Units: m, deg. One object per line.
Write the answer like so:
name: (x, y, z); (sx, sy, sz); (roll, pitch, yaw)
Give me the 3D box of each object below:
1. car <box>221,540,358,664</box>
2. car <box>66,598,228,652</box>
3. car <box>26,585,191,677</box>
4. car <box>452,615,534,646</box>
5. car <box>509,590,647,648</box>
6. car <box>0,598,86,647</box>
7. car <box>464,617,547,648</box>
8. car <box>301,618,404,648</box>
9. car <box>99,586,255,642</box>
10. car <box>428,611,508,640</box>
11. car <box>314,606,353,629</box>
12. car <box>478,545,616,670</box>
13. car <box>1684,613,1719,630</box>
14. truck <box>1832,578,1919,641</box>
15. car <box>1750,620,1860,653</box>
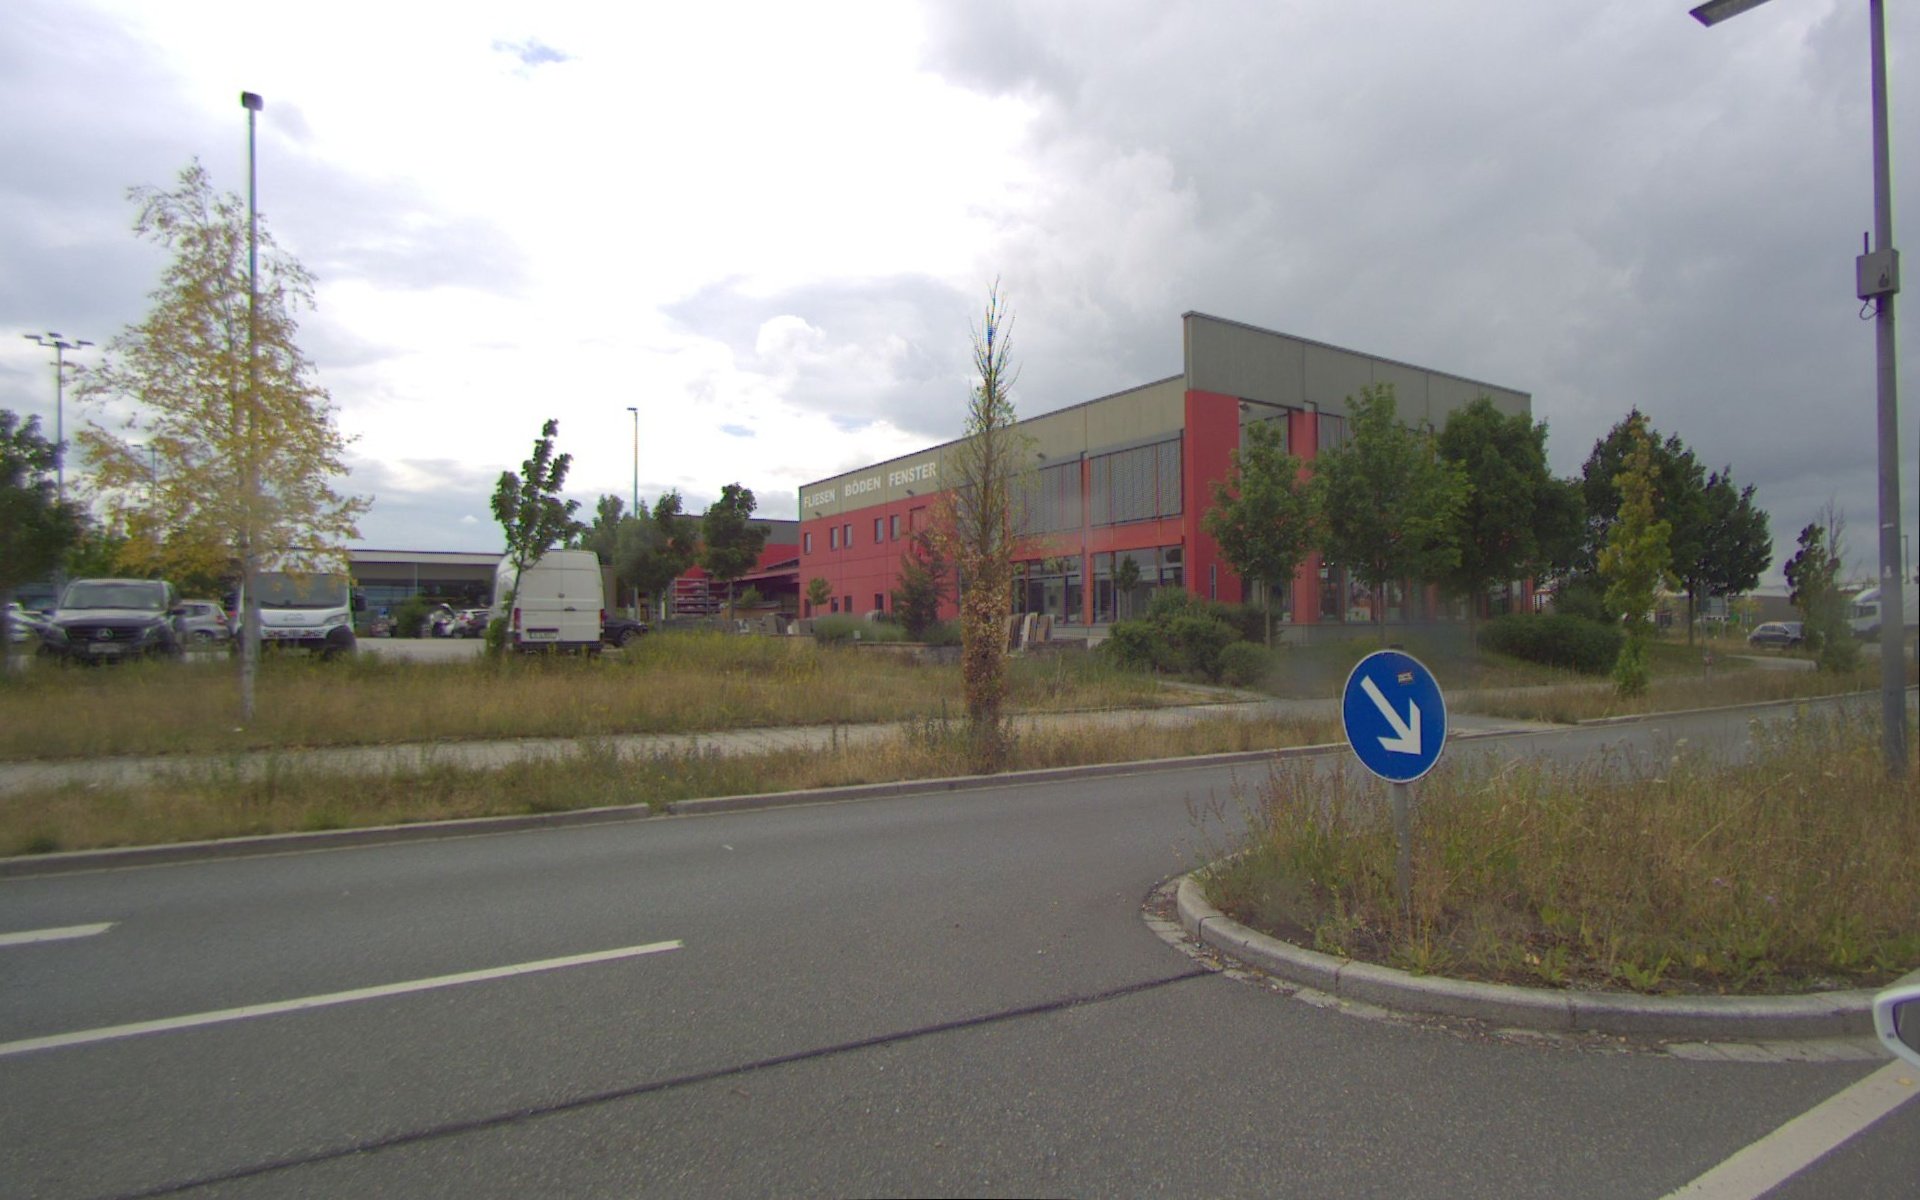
car: (-14.562, 0.108, 22.090); (2.186, 2.337, 6.036); (1, -1, -32)
car: (-26.082, 0.816, 32.414); (3.963, 1.623, 1.656); (1, -2, -37)
car: (-17.253, 0.630, 20.609); (1.974, 1.638, 4.873); (1, -2, -34)
car: (-26.362, 1.728, 56.680); (3.958, 1.672, 1.982); (1, -2, -34)
car: (-14.436, 0.754, 38.037); (4.591, 2.059, 1.981); (1, -2, -34)
car: (-40.015, 0.945, 42.794); (3.961, 2.040, 1.980); (1, -1, -36)
car: (-24.872, 1.777, 54.990); (3.957, 1.672, 1.982); (1, -2, -33)
car: (-35.067, 1.919, 58.032); (5.004, 1.672, 1.982); (1, -2, -34)
car: (-27.558, 0.537, 35.538); (4.228, 1.874, 1.979); (1, -2, -37)
car: (-28.671, 1.488, 58.528); (3.958, 1.672, 1.982); (1, -2, -34)
car: (-45.916, 1.316, 73.690); (1.974, 1.628, 3.974); (1, -2, -26)
car: (-10.229, 0.233, 24.516); (2.218, 2.633, 6.376); (1, -1, -31)
car: (83.597, 2.428, 113.209); (3.959, 1.884, 1.981); (1, -1, -34)
truck: (61.543, 0.608, 63.487); (9.166, 3.958, 3.139); (-1, -2, 29)
car: (44.394, 1.925, 52.894); (2.025, 1.613, 4.202); (-1, -2, -4)
